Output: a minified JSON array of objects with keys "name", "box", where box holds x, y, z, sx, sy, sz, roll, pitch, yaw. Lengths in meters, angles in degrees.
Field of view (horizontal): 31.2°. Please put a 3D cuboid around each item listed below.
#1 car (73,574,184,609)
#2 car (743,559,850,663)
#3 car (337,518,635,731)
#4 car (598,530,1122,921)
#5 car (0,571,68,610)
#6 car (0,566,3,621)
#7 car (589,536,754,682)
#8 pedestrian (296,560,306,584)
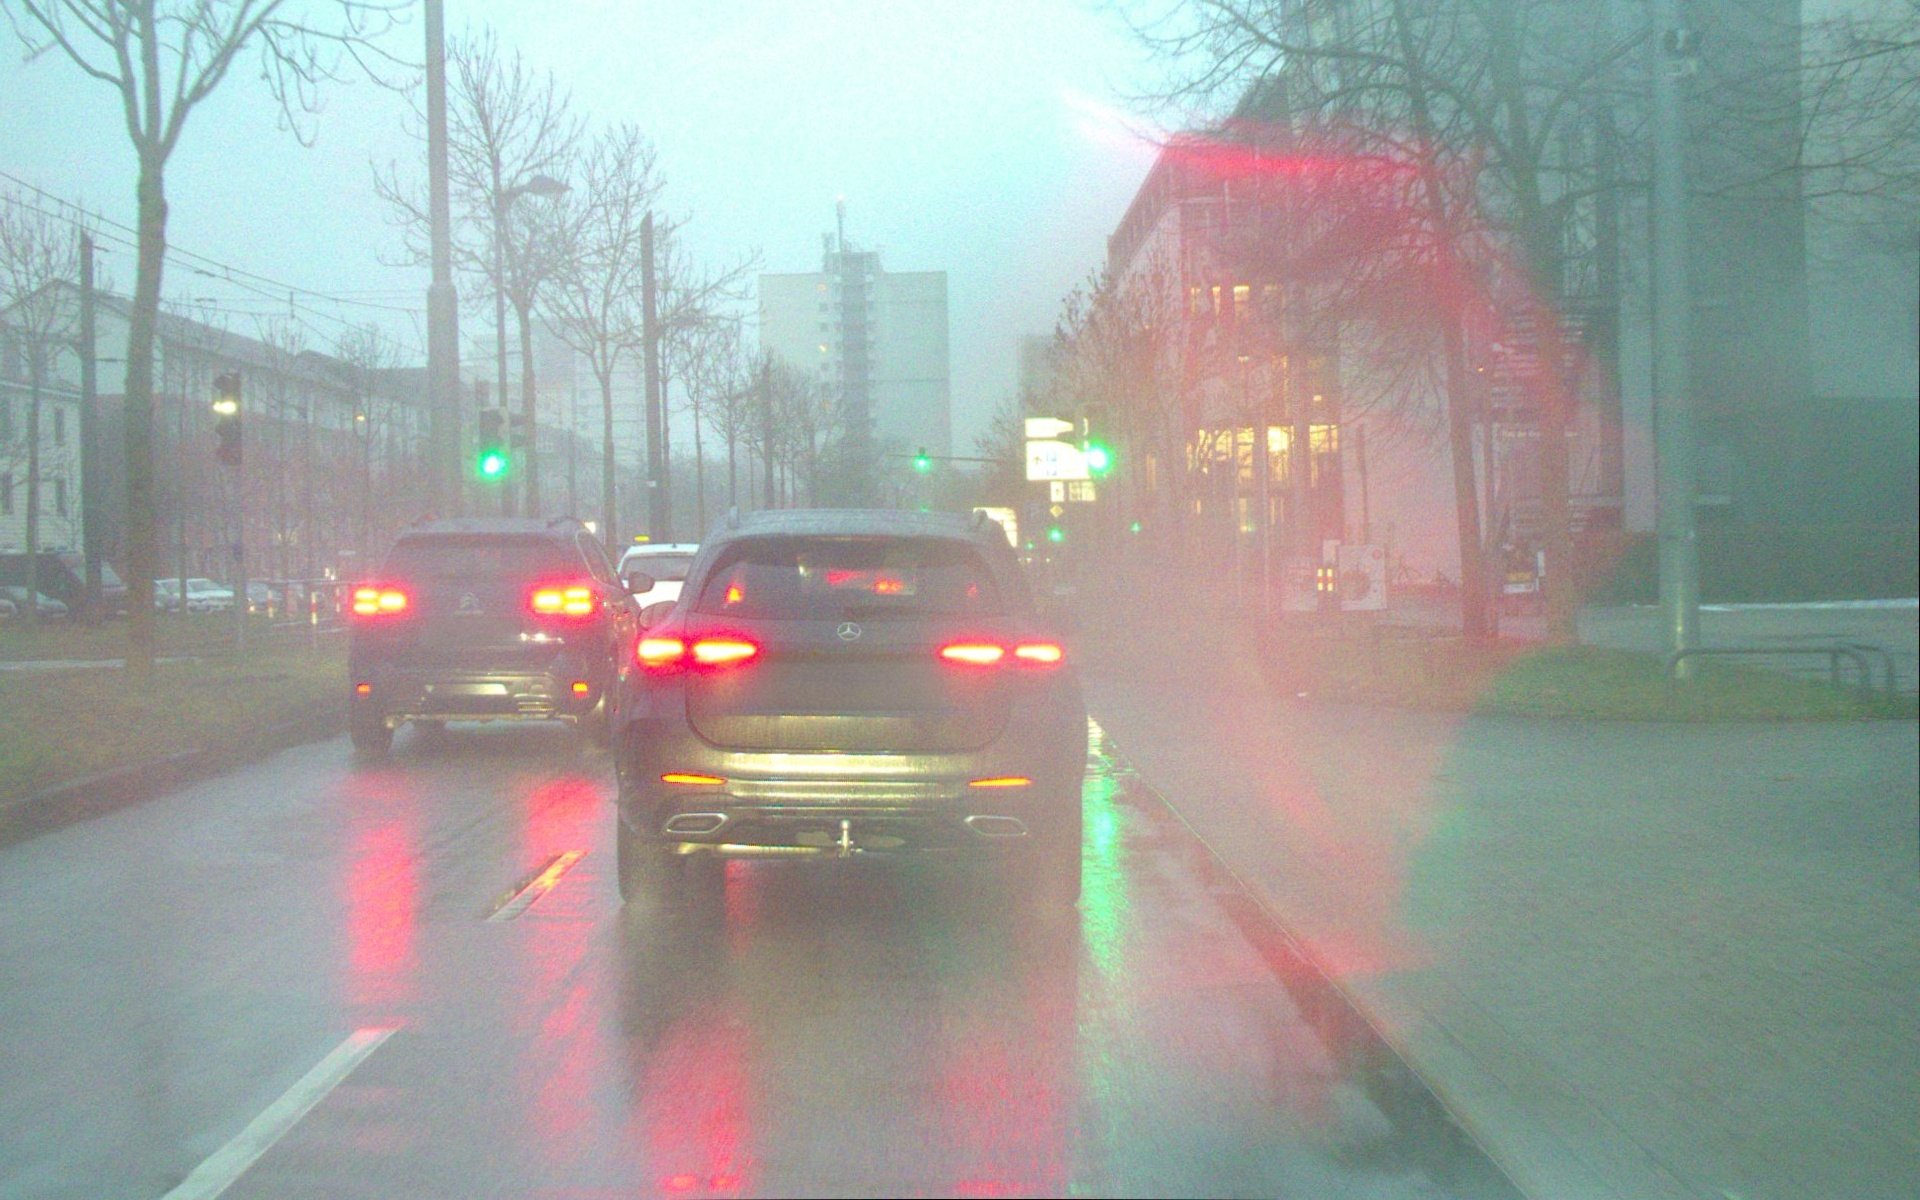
[{"name":"car","box":[-29.645,-0.314,122.556,3.535,1.196,1.879,1,1,31]},{"name":"car","box":[-2.840,0.185,60.214,1.662,1.753,3.568,0,0,1]},{"name":"car","box":[-3.416,0.141,25.424,1.817,1.445,4.000,0,1,-3]},{"name":"car","box":[-0.408,0.465,14.975,1.993,1.478,3.700,0,0,-1]},{"name":"car","box":[-29.270,-0.305,107.276,2.885,1.199,1.385,1,1,41]},{"name":"car","box":[-29.603,-0.220,99.699,3.846,1.583,1.738,1,1,41]},{"name":"car","box":[-3.354,0.080,40.484,1.689,1.630,3.474,0,1,-1]},{"name":"pedestrian","box":[-32.228,-1.388,168.136,0.345,1.180,0.434,0,0,-41]}]
